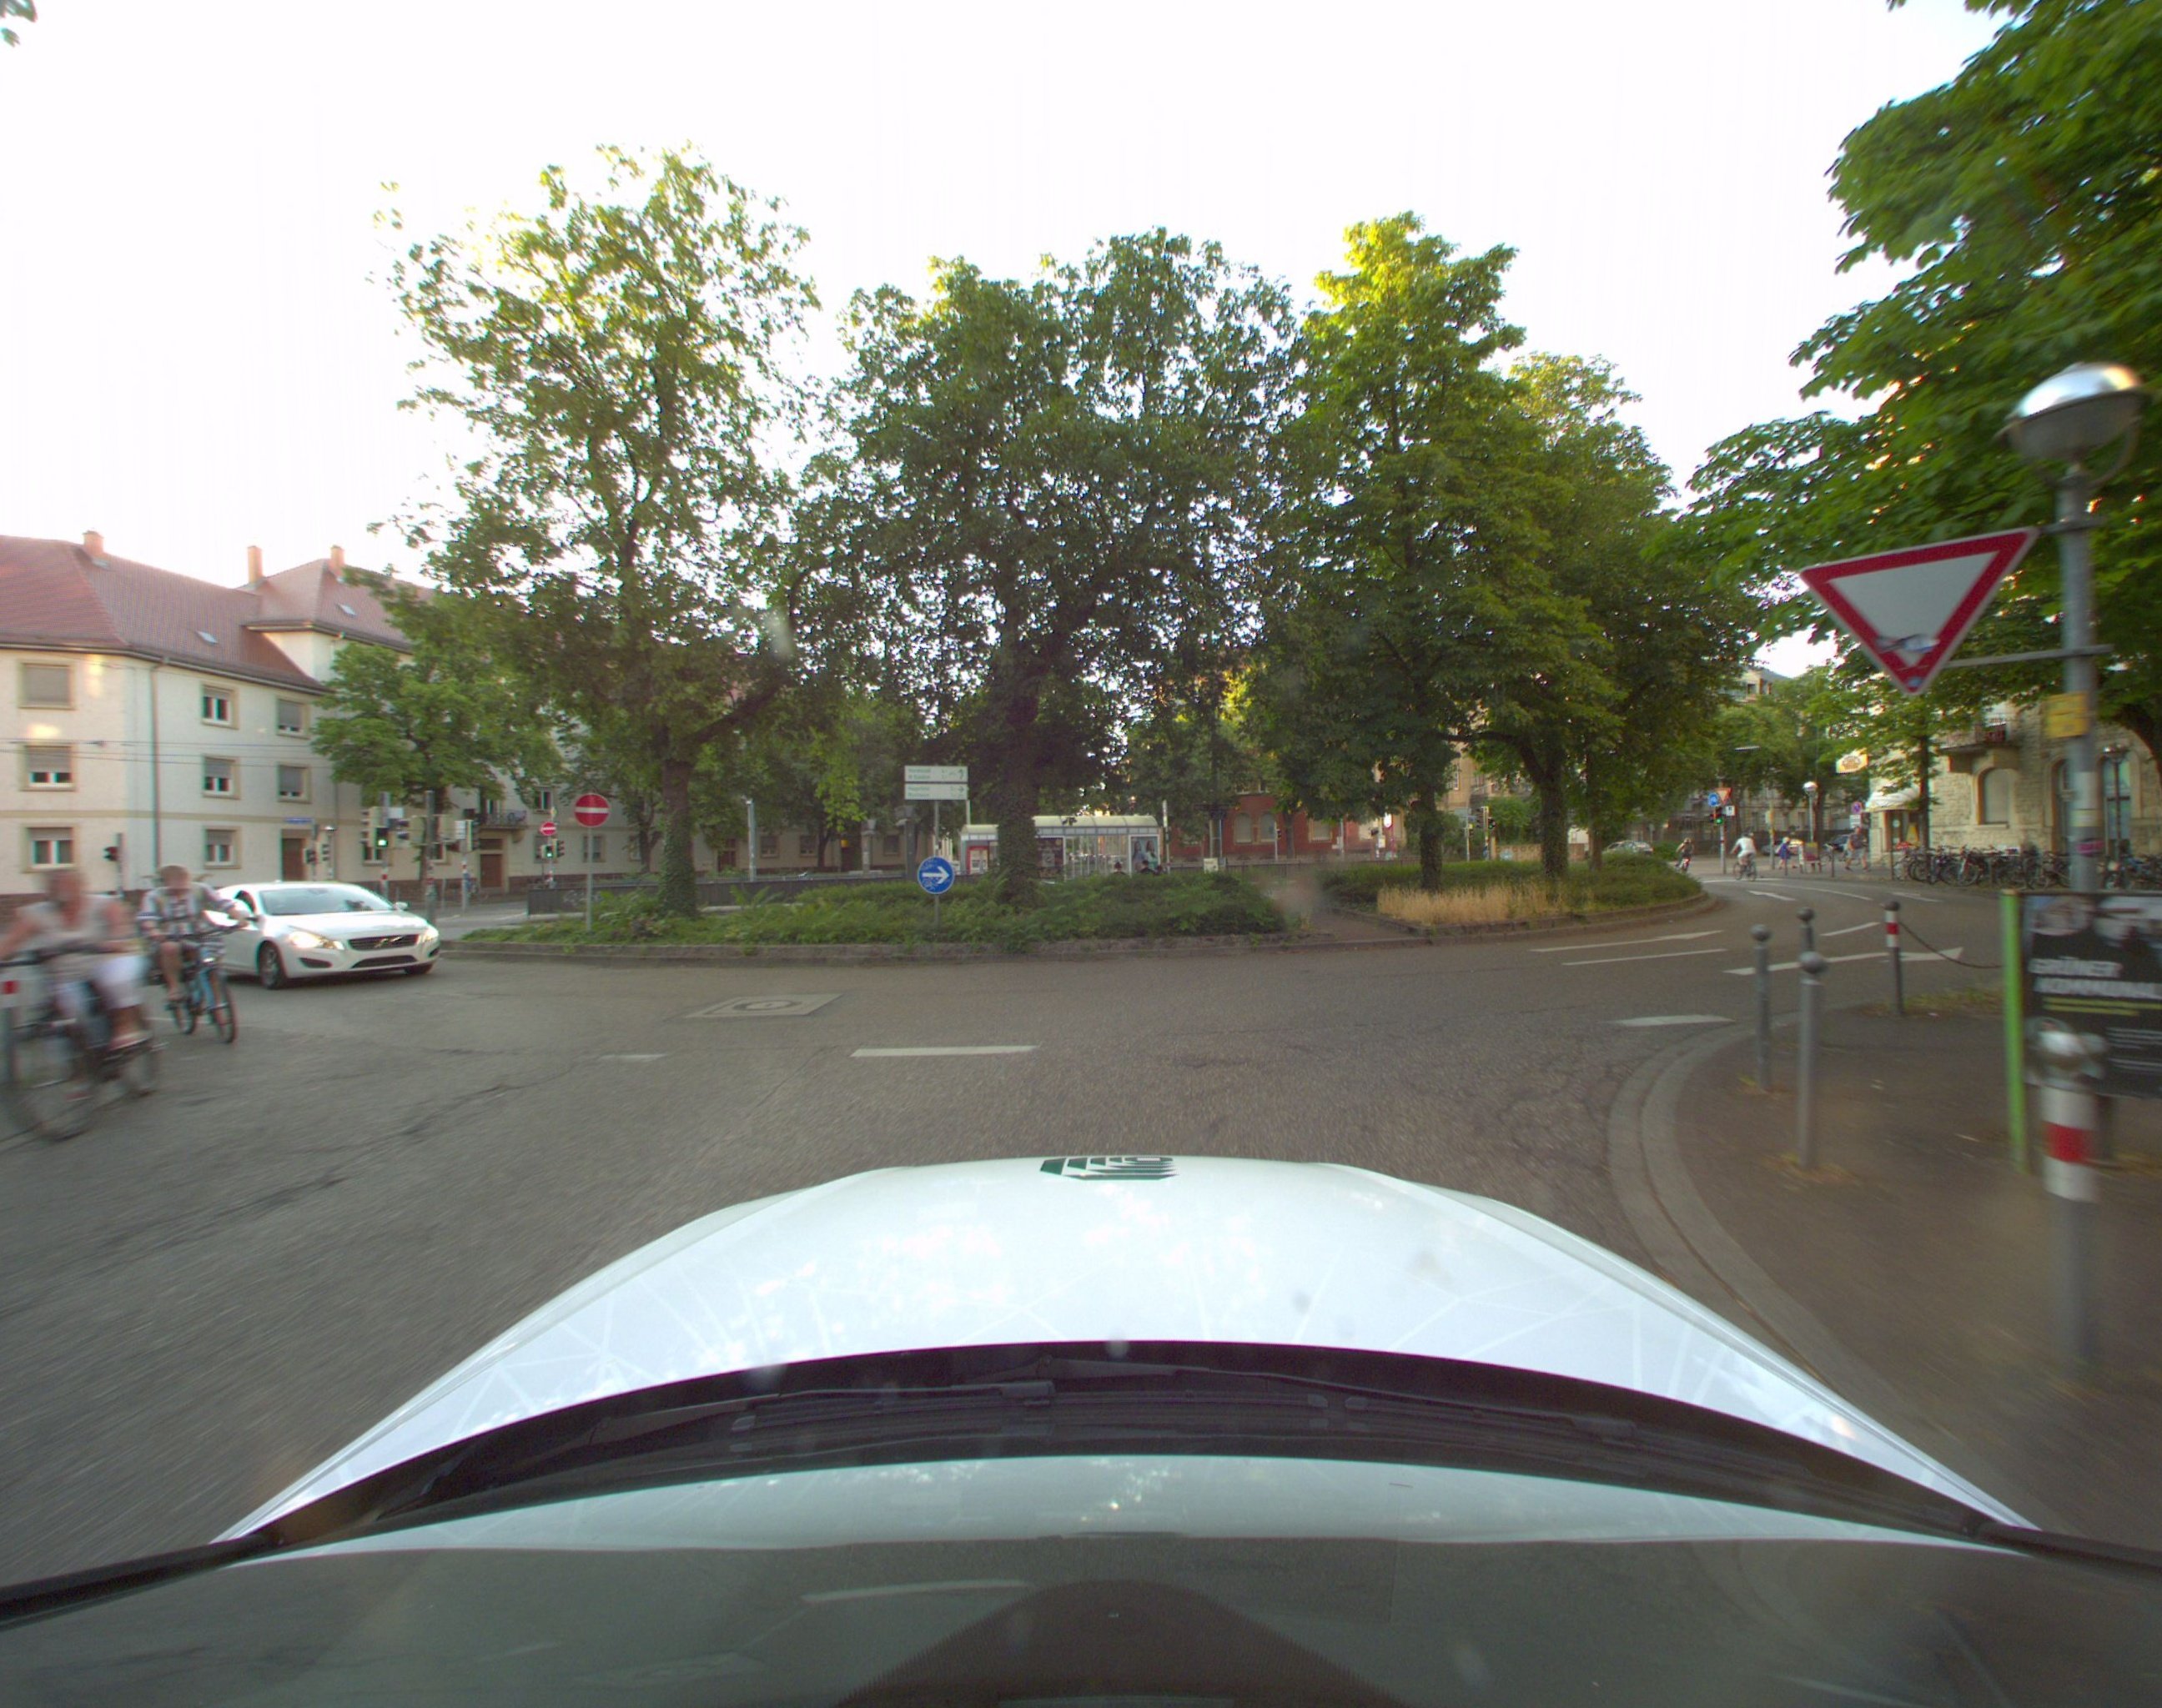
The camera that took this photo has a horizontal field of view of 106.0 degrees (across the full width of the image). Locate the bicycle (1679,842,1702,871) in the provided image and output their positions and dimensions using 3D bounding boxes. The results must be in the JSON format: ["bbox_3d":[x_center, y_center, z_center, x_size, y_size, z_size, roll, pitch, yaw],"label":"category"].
[{"bbox_3d":[27.082,0.085,36.176,0.691,1.236,1.875,-2,0,39],"label":"bicycle"}]

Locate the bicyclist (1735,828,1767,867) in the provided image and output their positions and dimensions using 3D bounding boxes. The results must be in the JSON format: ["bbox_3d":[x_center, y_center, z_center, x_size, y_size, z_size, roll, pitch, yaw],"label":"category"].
[{"bbox_3d":[24.691,-0.233,30.030,0.691,1.411,0.870,-2,0,24],"label":"bicyclist"}]

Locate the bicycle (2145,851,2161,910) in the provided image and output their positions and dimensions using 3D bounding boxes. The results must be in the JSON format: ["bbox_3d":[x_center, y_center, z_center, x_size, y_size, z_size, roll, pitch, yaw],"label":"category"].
[{"bbox_3d":[20.153,0.453,14.230,1.832,1.051,0.421,-2,0,44],"label":"bicycle"}]

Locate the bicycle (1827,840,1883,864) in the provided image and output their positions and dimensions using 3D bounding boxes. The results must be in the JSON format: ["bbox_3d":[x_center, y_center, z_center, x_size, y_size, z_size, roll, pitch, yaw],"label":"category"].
[{"bbox_3d":[38.168,-0.077,40.181,1.854,1.130,0.736,-2,0,32],"label":"bicycle"}]

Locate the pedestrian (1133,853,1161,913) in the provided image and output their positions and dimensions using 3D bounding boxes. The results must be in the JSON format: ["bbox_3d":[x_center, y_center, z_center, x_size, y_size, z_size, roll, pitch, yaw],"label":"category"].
[{"bbox_3d":[1.617,0.704,20.126,0.614,1.431,0.655,-1,0,0],"label":"pedestrian"}]

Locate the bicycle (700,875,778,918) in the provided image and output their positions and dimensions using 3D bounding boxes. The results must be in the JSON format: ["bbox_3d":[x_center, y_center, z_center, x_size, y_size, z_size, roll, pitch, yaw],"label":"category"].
[{"bbox_3d":[-10.332,1.269,24.646,2.118,1.151,0.681,-2,0,-25],"label":"bicycle"}]

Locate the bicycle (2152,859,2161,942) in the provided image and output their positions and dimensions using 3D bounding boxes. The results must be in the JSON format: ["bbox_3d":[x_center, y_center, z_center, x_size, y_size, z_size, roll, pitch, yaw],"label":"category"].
[{"bbox_3d":[14.105,0.572,9.700,0.557,1.020,1.590,-1,0,-34],"label":"bicycle"}]

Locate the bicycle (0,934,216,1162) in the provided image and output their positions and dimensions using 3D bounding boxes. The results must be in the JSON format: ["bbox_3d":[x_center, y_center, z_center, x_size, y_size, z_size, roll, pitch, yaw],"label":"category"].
[{"bbox_3d":[-6.526,1.170,5.376,0.732,1.094,2.025,-2,0,-36],"label":"bicycle"}]

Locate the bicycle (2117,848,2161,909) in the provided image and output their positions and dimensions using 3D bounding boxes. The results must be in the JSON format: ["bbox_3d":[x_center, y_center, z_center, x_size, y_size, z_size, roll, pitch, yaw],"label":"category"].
[{"bbox_3d":[20.907,0.452,15.204,1.832,1.093,0.421,-2,-19,44],"label":"bicycle"}]

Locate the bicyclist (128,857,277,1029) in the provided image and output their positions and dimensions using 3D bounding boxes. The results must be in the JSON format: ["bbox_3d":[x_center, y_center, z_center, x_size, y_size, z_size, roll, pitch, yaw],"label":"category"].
[{"bbox_3d":[-8.442,0.820,7.840,0.865,1.545,0.682,-2,0,22],"label":"bicyclist"}]

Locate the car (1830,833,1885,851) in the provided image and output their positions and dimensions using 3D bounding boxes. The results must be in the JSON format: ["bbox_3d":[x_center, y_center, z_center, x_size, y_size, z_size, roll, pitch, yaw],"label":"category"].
[{"bbox_3d":[70.565,-1.110,73.979,4.168,1.482,1.937,-1,0,-20],"label":"car"}]

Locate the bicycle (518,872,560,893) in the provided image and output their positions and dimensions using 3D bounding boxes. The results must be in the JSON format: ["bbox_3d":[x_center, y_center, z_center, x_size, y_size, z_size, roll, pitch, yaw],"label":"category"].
[{"bbox_3d":[-31.602,1.659,47.512,0.677,1.151,1.932,-2,0,33],"label":"bicycle"}]

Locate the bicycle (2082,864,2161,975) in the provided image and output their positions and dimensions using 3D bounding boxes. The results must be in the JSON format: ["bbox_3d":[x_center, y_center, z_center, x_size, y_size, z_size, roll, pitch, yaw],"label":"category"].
[{"bbox_3d":[10.604,0.623,7.553,0.432,1.039,1.596,-1,0,-22],"label":"bicycle"}]

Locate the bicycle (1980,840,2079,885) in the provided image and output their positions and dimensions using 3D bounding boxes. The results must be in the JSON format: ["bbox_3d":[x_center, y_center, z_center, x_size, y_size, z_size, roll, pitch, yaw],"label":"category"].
[{"bbox_3d":[25.497,0.228,21.929,1.653,1.127,0.490,-2,6,35],"label":"bicycle"}]

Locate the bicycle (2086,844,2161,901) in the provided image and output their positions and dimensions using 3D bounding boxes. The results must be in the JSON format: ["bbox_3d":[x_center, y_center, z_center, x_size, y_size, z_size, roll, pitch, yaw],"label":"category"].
[{"bbox_3d":[22.288,0.382,16.819,1.861,1.139,0.495,0,4,30],"label":"bicycle"}]

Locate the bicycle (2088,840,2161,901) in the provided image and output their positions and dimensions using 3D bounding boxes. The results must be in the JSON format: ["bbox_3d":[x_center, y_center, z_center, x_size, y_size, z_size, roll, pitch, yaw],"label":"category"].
[{"bbox_3d":[21.970,0.339,16.515,1.861,1.217,0.495,-2,-6,44],"label":"bicycle"}]

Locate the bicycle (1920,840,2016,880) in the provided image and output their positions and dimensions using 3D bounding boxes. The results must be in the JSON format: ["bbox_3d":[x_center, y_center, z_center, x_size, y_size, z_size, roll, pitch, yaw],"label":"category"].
[{"bbox_3d":[26.716,0.189,24.548,1.871,1.162,0.643,-2,0,17],"label":"bicycle"}]

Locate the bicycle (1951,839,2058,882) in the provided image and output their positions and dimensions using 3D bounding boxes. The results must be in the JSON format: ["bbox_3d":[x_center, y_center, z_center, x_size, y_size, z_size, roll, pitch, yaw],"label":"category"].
[{"bbox_3d":[26.181,0.200,23.129,1.868,1.162,0.709,-2,0,27],"label":"bicycle"}]

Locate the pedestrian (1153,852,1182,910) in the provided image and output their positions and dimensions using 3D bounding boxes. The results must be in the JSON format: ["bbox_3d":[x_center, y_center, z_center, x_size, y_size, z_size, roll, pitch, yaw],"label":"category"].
[{"bbox_3d":[2.172,0.668,20.501,0.614,1.431,0.655,-1,0,0],"label":"pedestrian"}]

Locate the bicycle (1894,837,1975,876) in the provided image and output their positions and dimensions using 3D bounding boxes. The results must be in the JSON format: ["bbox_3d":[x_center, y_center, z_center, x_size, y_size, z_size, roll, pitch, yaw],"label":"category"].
[{"bbox_3d":[28.604,0.084,27.328,1.774,1.236,0.654,-2,0,15],"label":"bicycle"}]

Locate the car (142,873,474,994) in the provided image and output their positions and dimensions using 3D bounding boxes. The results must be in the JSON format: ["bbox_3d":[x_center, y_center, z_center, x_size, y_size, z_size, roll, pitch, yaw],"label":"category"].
[{"bbox_3d":[-11.931,1.118,12.557,4.781,1.517,2.011,-2,0,24],"label":"car"}]

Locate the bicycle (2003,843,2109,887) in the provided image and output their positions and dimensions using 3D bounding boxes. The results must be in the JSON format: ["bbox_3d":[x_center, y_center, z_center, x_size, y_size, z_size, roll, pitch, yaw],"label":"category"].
[{"bbox_3d":[24.804,0.290,20.751,1.654,1.078,0.489,-2,0,26],"label":"bicycle"}]

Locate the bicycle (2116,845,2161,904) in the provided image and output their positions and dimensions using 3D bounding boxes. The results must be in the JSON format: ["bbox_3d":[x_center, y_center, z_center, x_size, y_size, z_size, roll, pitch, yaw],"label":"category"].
[{"bbox_3d":[21.428,0.393,15.650,1.832,1.144,0.421,-2,0,44],"label":"bicycle"}]

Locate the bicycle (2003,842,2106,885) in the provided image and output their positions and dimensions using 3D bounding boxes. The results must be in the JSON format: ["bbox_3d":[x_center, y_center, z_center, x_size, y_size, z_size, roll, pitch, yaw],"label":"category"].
[{"bbox_3d":[25.637,0.256,21.479,1.653,1.078,0.489,-2,0,34],"label":"bicycle"}]

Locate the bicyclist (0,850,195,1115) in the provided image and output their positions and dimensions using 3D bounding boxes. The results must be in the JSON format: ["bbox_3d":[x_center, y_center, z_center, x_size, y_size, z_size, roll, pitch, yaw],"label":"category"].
[{"bbox_3d":[-6.570,0.782,5.419,0.730,1.583,0.865,-1,0,-36],"label":"bicyclist"}]

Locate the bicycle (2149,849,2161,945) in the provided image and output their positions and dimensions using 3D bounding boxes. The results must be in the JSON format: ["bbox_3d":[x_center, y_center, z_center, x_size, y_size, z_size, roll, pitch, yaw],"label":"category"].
[{"bbox_3d":[13.741,0.509,9.444,0.557,1.148,1.590,-1,0,-34],"label":"bicycle"}]

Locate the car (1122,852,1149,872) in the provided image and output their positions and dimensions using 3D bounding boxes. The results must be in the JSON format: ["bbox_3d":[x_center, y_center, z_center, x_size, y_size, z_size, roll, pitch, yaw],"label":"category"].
[{"bbox_3d":[4.882,0.722,73.517,1.988,1.703,4.716,0,0,-2],"label":"car"}]

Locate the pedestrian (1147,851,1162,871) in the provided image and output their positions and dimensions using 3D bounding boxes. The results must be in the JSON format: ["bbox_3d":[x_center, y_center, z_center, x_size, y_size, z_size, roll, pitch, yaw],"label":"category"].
[{"bbox_3d":[5.797,0.560,64.346,0.856,1.526,0.720,-2,0,37],"label":"pedestrian"}]

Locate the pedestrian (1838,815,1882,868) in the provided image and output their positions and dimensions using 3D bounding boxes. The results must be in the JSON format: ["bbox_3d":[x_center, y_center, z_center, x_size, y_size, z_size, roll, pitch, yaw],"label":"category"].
[{"bbox_3d":[31.270,-0.505,32.716,1.001,2.085,1.067,-2,0,30],"label":"pedestrian"}]

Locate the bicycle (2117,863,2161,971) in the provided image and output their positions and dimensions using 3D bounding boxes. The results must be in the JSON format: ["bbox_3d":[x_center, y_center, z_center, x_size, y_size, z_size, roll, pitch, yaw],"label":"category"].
[{"bbox_3d":[11.048,0.612,7.448,0.432,1.039,1.885,-1,0,-22],"label":"bicycle"}]

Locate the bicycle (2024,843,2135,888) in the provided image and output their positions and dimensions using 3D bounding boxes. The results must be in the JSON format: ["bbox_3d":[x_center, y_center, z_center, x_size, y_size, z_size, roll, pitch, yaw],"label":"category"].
[{"bbox_3d":[24.737,0.295,20.206,1.654,1.078,0.489,-2,0,26],"label":"bicycle"}]

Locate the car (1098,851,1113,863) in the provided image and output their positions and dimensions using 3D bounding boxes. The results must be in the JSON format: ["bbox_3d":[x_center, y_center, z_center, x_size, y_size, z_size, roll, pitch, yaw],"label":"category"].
[{"bbox_3d":[3.793,0.471,125.417,1.988,1.703,4.716,0,0,-2],"label":"car"}]

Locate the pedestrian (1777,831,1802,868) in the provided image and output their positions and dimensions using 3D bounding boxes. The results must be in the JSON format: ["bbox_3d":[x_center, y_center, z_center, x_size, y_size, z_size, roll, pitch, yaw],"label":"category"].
[{"bbox_3d":[34.963,-0.245,40.188,0.859,1.794,0.930,-2,0,39],"label":"pedestrian"}]

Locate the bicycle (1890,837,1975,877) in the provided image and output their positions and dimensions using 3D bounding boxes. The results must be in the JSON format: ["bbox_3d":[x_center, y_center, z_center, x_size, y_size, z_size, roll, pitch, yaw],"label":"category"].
[{"bbox_3d":[27.724,0.113,26.535,1.773,1.236,0.703,-2,0,17],"label":"bicycle"}]

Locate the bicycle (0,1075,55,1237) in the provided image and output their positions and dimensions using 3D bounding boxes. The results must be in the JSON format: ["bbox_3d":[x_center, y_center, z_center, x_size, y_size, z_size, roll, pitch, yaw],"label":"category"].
[{"bbox_3d":[-4.930,1.339,2.953,0.649,0.642,1.460,-2,0,-7],"label":"bicycle"}]

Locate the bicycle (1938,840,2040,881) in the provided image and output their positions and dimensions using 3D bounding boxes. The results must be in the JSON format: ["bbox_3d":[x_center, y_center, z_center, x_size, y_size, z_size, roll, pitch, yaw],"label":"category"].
[{"bbox_3d":[26.510,0.191,23.821,1.868,1.162,0.644,-2,0,27],"label":"bicycle"}]

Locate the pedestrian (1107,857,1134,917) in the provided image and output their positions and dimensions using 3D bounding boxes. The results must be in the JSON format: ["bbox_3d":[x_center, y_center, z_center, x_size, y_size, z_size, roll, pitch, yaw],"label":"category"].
[{"bbox_3d":[0.968,0.809,20.016,0.614,1.431,0.655,-1,0,0],"label":"pedestrian"}]

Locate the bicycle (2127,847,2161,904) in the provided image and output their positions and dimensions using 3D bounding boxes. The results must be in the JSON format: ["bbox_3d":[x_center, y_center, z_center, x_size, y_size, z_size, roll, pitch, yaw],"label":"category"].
[{"bbox_3d":[21.942,0.396,15.885,1.834,1.104,0.577,-2,0,20],"label":"bicycle"}]

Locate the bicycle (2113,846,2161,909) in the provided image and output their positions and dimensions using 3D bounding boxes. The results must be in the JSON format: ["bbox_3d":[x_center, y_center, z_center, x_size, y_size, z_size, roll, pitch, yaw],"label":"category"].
[{"bbox_3d":[21.091,0.445,15.413,1.832,1.131,0.421,-2,-19,44],"label":"bicycle"}]

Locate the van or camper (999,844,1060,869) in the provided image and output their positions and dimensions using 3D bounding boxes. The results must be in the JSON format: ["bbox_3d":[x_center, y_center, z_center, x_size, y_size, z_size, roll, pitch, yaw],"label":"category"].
[{"bbox_3d":[-6.313,0.316,99.882,7.355,3.083,2.668,0,0,-6],"label":"van or camper"}]

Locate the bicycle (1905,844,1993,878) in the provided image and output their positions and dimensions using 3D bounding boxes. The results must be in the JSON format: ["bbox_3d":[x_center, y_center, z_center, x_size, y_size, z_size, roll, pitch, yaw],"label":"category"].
[{"bbox_3d":[27.389,0.219,25.730,1.787,1.038,0.703,-2,0,17],"label":"bicycle"}]

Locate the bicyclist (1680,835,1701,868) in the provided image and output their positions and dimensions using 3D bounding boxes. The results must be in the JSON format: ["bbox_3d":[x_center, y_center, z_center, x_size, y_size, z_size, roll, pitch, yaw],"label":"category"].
[{"bbox_3d":[27.074,-0.117,36.171,0.691,1.461,0.789,-2,0,39],"label":"bicyclist"}]

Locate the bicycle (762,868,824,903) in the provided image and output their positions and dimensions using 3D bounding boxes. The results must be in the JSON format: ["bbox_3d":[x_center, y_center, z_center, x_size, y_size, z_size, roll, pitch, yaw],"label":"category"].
[{"bbox_3d":[-9.350,1.019,26.427,1.857,1.051,0.542,-2,0,-23],"label":"bicycle"}]

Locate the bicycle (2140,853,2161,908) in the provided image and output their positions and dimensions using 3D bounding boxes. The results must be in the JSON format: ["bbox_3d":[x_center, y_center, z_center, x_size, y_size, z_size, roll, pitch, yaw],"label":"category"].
[{"bbox_3d":[20.352,0.465,14.446,1.832,0.999,0.421,-2,0,44],"label":"bicycle"}]

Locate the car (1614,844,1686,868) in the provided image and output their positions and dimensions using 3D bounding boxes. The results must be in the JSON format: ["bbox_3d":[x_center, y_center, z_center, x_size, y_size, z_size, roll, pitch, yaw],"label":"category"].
[{"bbox_3d":[39.802,0.139,56.966,4.419,1.510,1.937,-1,0,-20],"label":"car"}]

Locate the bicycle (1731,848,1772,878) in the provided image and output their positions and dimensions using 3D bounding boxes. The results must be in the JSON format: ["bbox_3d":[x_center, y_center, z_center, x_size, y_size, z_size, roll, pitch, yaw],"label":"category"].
[{"bbox_3d":[24.735,0.336,30.091,0.691,1.055,1.803,-2,0,24],"label":"bicycle"}]

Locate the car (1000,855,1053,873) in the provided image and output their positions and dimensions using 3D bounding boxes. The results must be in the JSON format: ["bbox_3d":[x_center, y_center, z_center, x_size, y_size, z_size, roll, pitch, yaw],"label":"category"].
[{"bbox_3d":[-5.173,0.961,77.185,4.943,1.703,1.996,0,0,-6],"label":"car"}]

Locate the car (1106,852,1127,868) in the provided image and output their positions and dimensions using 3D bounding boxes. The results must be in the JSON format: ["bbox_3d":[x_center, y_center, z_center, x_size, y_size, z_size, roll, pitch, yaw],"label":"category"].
[{"bbox_3d":[3.857,0.644,89.814,1.988,1.703,4.716,0,0,-2],"label":"car"}]

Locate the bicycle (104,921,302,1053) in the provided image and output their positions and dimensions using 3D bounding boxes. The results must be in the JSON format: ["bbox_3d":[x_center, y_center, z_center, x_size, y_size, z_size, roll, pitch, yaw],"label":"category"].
[{"bbox_3d":[-8.474,1.232,7.859,1.787,1.094,0.689,-2,0,22],"label":"bicycle"}]
